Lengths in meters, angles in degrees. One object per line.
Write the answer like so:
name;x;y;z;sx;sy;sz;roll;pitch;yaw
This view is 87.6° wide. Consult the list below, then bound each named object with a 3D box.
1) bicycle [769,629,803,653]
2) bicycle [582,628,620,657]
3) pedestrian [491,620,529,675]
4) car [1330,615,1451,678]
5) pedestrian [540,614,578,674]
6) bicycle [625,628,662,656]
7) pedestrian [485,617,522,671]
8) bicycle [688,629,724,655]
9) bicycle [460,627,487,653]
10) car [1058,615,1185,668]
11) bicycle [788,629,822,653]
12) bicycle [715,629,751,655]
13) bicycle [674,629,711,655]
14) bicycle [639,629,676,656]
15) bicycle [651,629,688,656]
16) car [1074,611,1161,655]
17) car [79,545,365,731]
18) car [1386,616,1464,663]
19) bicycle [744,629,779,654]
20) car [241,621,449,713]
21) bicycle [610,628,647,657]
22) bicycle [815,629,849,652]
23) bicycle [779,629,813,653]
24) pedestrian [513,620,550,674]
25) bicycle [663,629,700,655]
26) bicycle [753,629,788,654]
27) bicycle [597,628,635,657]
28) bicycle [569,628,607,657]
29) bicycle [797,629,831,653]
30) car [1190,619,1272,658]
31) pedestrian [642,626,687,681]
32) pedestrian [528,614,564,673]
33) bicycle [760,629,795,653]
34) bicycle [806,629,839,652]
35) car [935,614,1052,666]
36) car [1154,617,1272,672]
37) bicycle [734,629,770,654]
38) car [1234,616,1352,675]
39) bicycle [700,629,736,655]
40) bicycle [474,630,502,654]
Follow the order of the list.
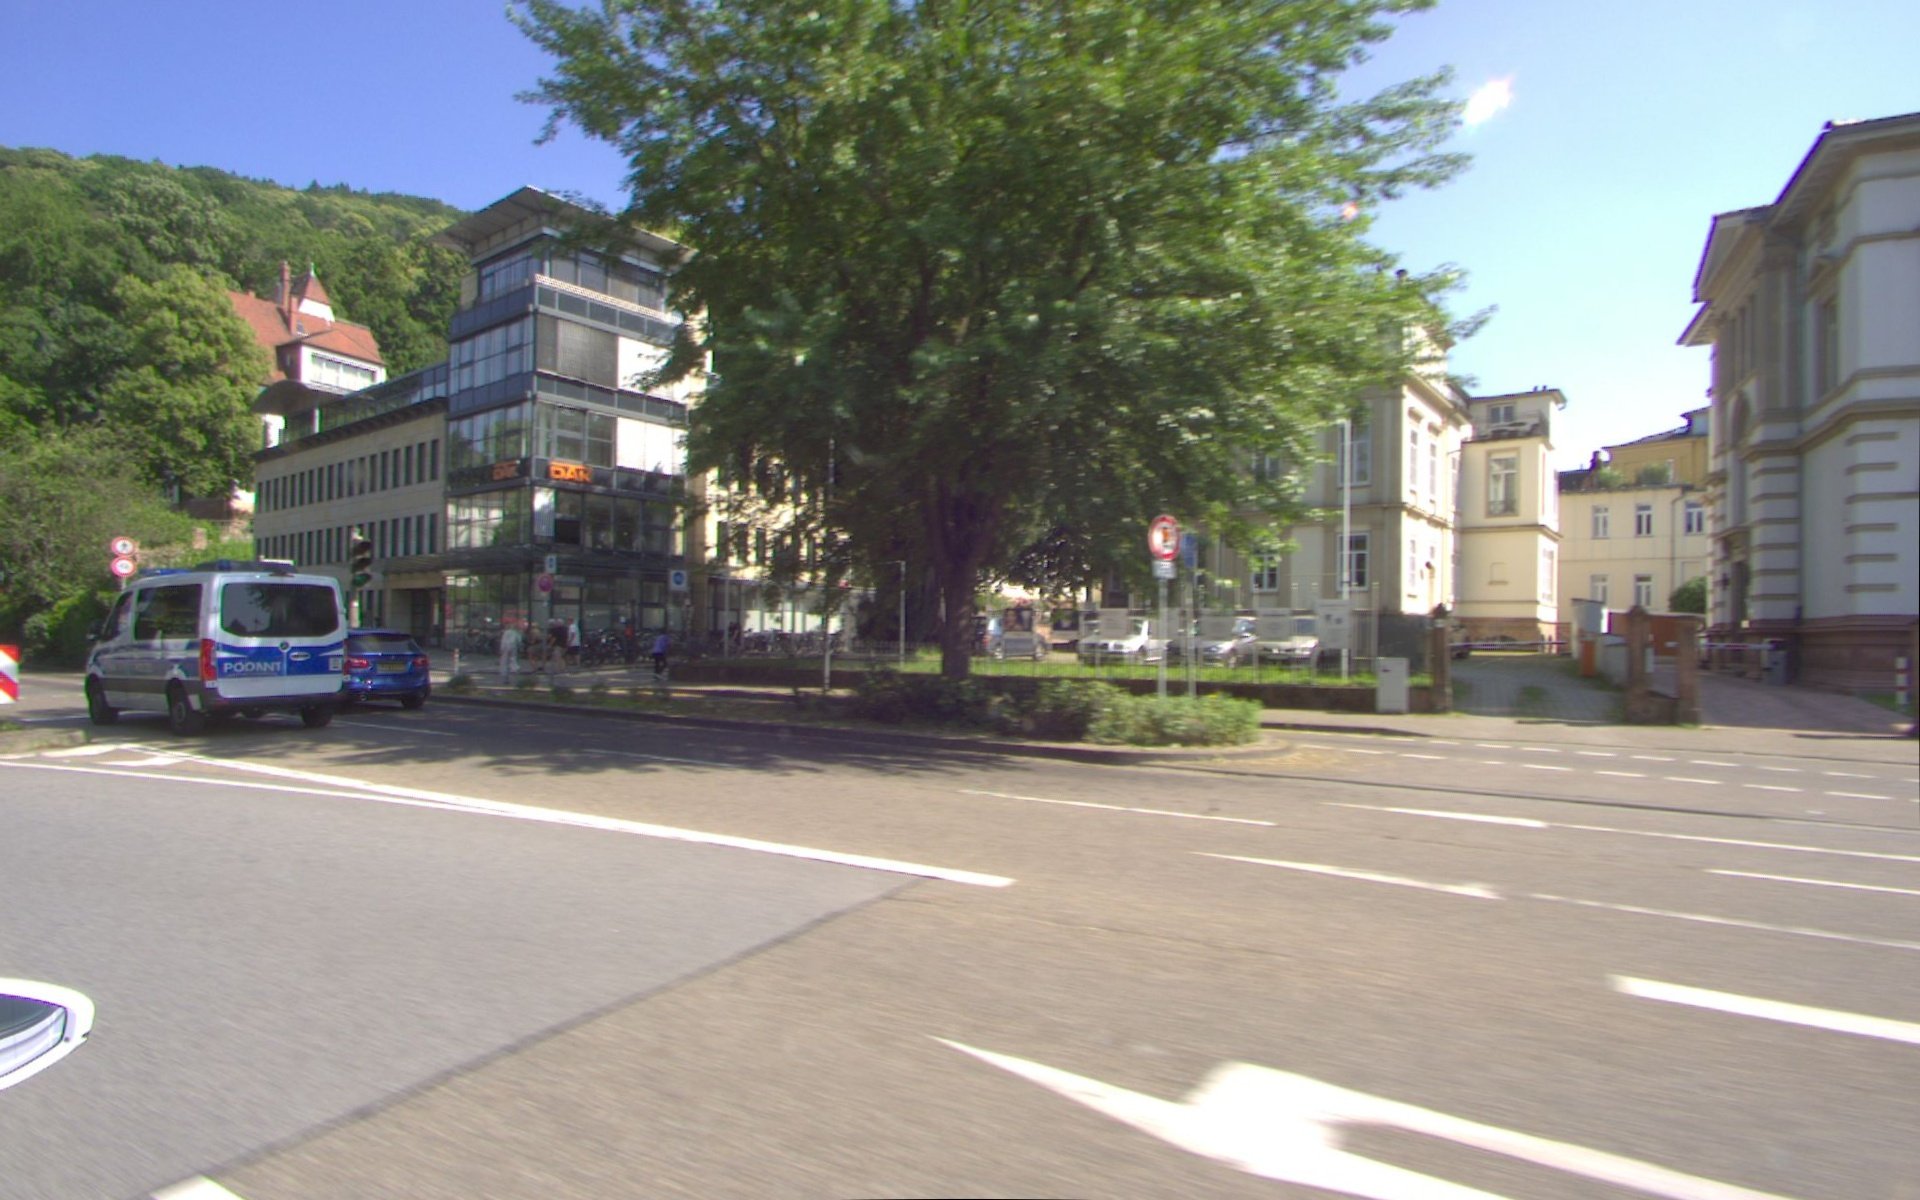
bicycle;-8.231;1.937;47.326;1.812;1.099;0.535;0;-1;39
bicycle;-14.142;1.673;39.457;1.812;1.099;0.535;0;-1;39
pedestrian;-14.148;1.477;31.472;0.819;1.684;0.768;0;-2;37
car;10.403;1.081;24.032;1.964;1.353;4.032;0;-2;34
pedestrian;-12.763;1.393;31.859;0.819;1.878;0.768;0;-2;39
bicycle;-12.922;1.720;40.854;1.812;1.099;0.535;0;-1;39
pedestrian;-14.713;1.416;32.241;0.819;1.684;0.768;0;-2;39
bicycle;-10.969;1.800;43.233;1.812;1.099;0.535;0;-1;39
bicycle;-19.802;1.617;40.755;1.324;1.026;0.404;0;-1;37
car;4.580;1.122;27.811;1.796;1.353;4.456;0;-2;34
bicycle;-7.466;1.969;48.297;1.812;1.099;0.535;0;-1;39
bicycle;-10.029;1.832;44.165;1.812;1.099;0.535;0;-1;39
bicycle;-11.473;1.788;42.889;1.812;1.099;0.535;0;-1;39
bicycle;-12.517;1.738;41.395;1.812;1.099;0.535;0;-1;39
bicycle;-12.169;1.754;41.880;1.812;1.099;0.535;0;-1;39
car;6.304;1.312;39.741;1.796;1.624;4.298;0;-2;34
car;-11.755;0.593;15.862;4.860;2.540;2.070;-1;-2;33
car;16.117;1.354;34.593;1.840;1.529;4.040;0;-2;34
bicycle;-9.062;1.883;45.686;1.812;1.099;0.535;0;-1;39
car;-12.006;1.258;19.494;4.209;1.560;1.717;0;-3;32
bicycle;-13.385;1.706;40.433;1.812;1.099;0.535;0;-1;39
bicycle;-6.358;2.015;49.653;1.812;1.099;0.535;0;-1;39
bicycle;-7.847;1.953;47.809;1.812;1.099;0.535;0;-1;39
pedestrian;-13.681;1.492;31.945;0.819;1.684;0.768;0;-2;39
bicycle;-11.788;1.772;42.402;1.812;1.099;0.535;0;-1;39
bicycle;-8.748;1.900;46.219;1.812;1.099;0.535;0;-1;39
bicycle;-13.743;1.690;39.959;1.812;1.099;0.535;0;-1;39
bicycle;-14.520;1.659;39.045;1.812;1.099;0.535;0;-1;39
bicycle;-7.112;1.985;48.760;1.812;1.099;0.535;0;-1;39
car;10.316;1.442;37.883;1.796;1.353;4.067;0;-2;34
pedestrian;-8.864;1.587;30.048;1.111;1.601;0.735;1;-1;-41
pedestrian;-13.463;1.418;32.559;0.819;1.878;0.768;0;-2;38
bicycle;-8.543;1.920;46.811;1.812;1.099;0.535;0;-1;39
bicycle;-6.754;2.000;49.202;1.812;1.099;0.535;0;-1;39
car;1.122;1.214;31.065;1.850;1.494;4.137;0;-2;31
car;6.773;1.153;26.530;1.796;1.353;4.076;0;-2;34
bicycle;-9.387;1.866;45.179;1.812;1.099;0.535;0;-1;39
car;8.476;1.115;25.256;1.835;1.353;4.032;0;-2;34
bicycle;-10.583;1.818;43.749;1.812;1.099;0.535;0;-1;39
bicycle;-18.742;1.661;39.759;1.324;0.953;0.404;0;-1;37
